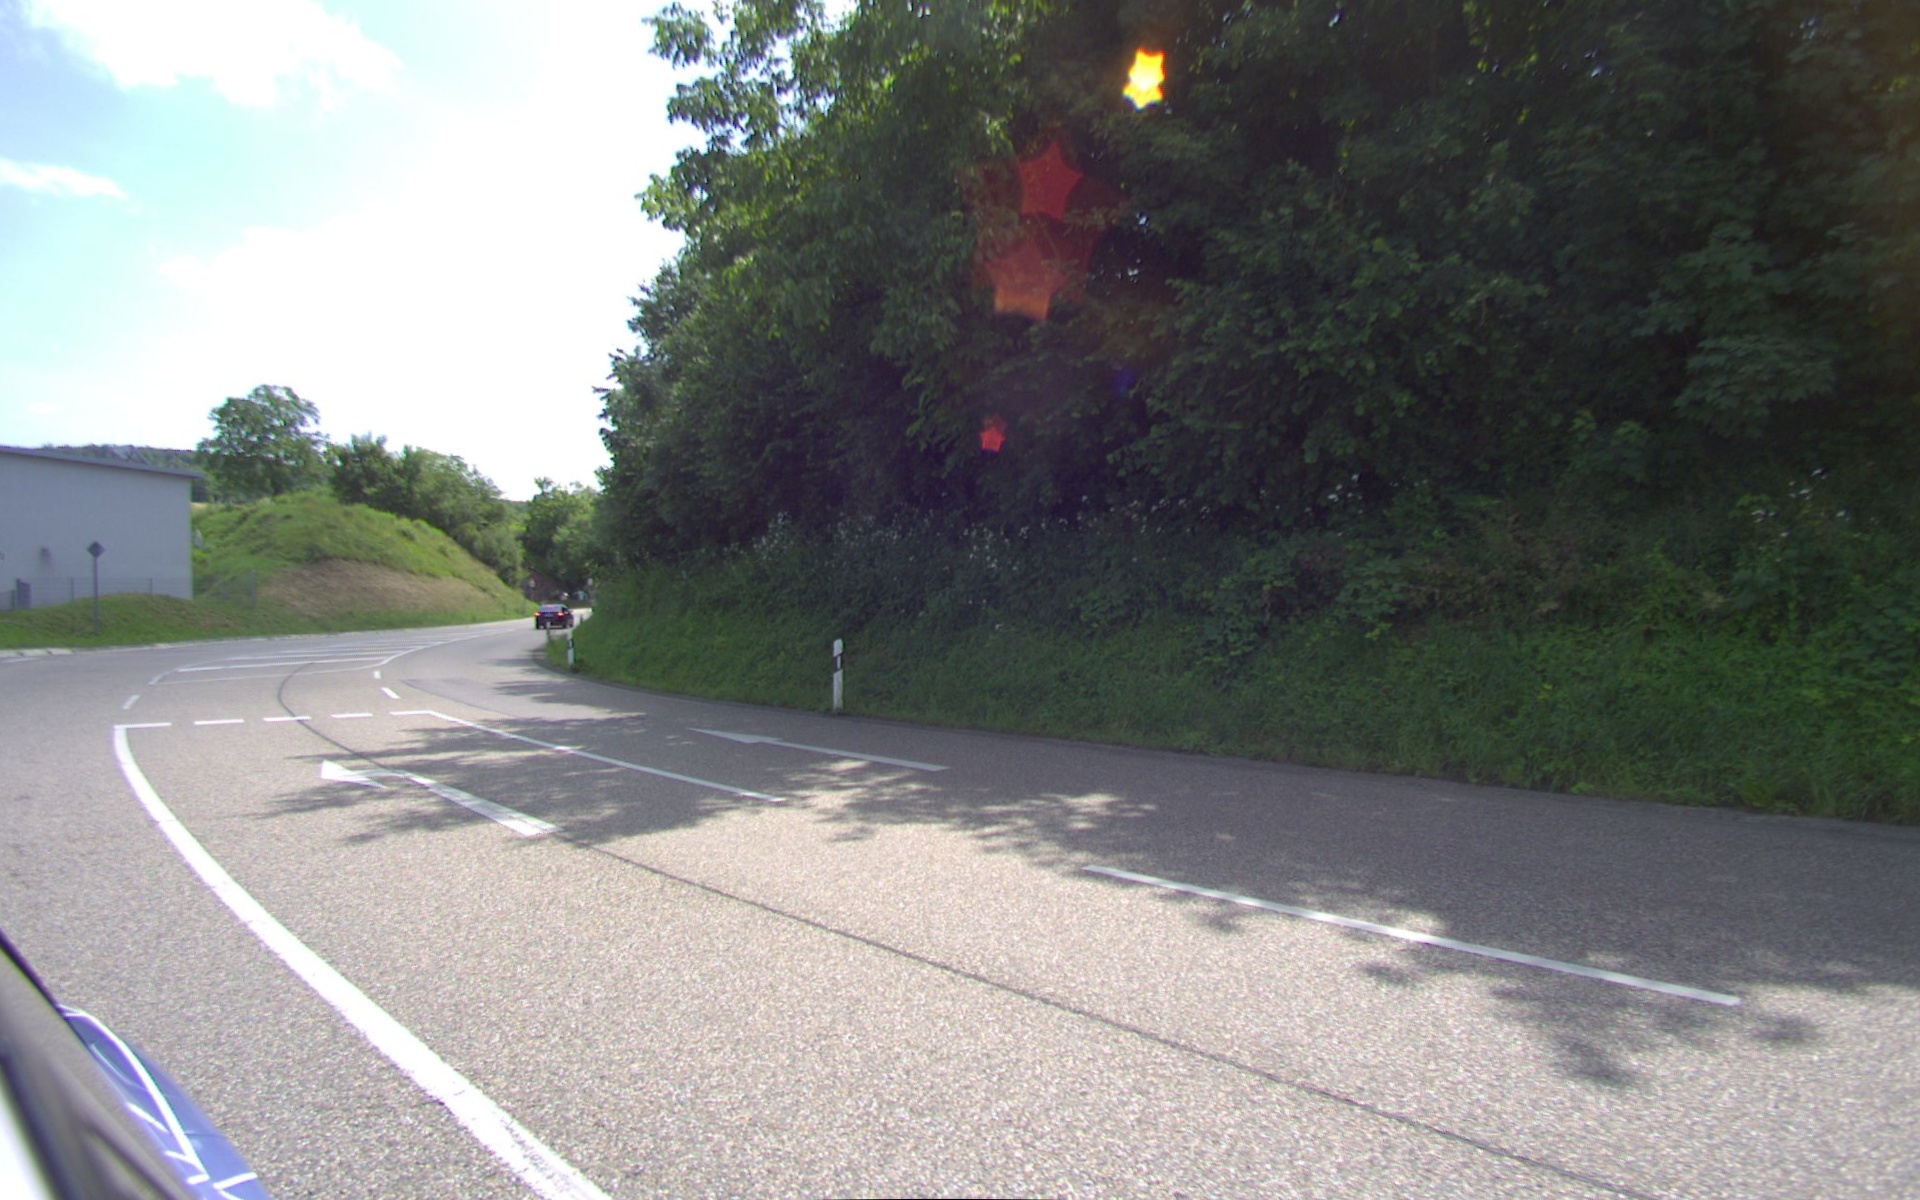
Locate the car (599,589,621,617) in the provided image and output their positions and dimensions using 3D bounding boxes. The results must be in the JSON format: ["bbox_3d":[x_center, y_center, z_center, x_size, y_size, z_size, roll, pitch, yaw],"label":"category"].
[{"bbox_3d":[-37.899,0.279,109.615,2.056,2.306,5.968,1,6,-18],"label":"car"}]

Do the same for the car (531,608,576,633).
[{"bbox_3d":[-24.408,1.217,60.896,1.662,1.430,4.354,2,-1,-11],"label":"car"}]
